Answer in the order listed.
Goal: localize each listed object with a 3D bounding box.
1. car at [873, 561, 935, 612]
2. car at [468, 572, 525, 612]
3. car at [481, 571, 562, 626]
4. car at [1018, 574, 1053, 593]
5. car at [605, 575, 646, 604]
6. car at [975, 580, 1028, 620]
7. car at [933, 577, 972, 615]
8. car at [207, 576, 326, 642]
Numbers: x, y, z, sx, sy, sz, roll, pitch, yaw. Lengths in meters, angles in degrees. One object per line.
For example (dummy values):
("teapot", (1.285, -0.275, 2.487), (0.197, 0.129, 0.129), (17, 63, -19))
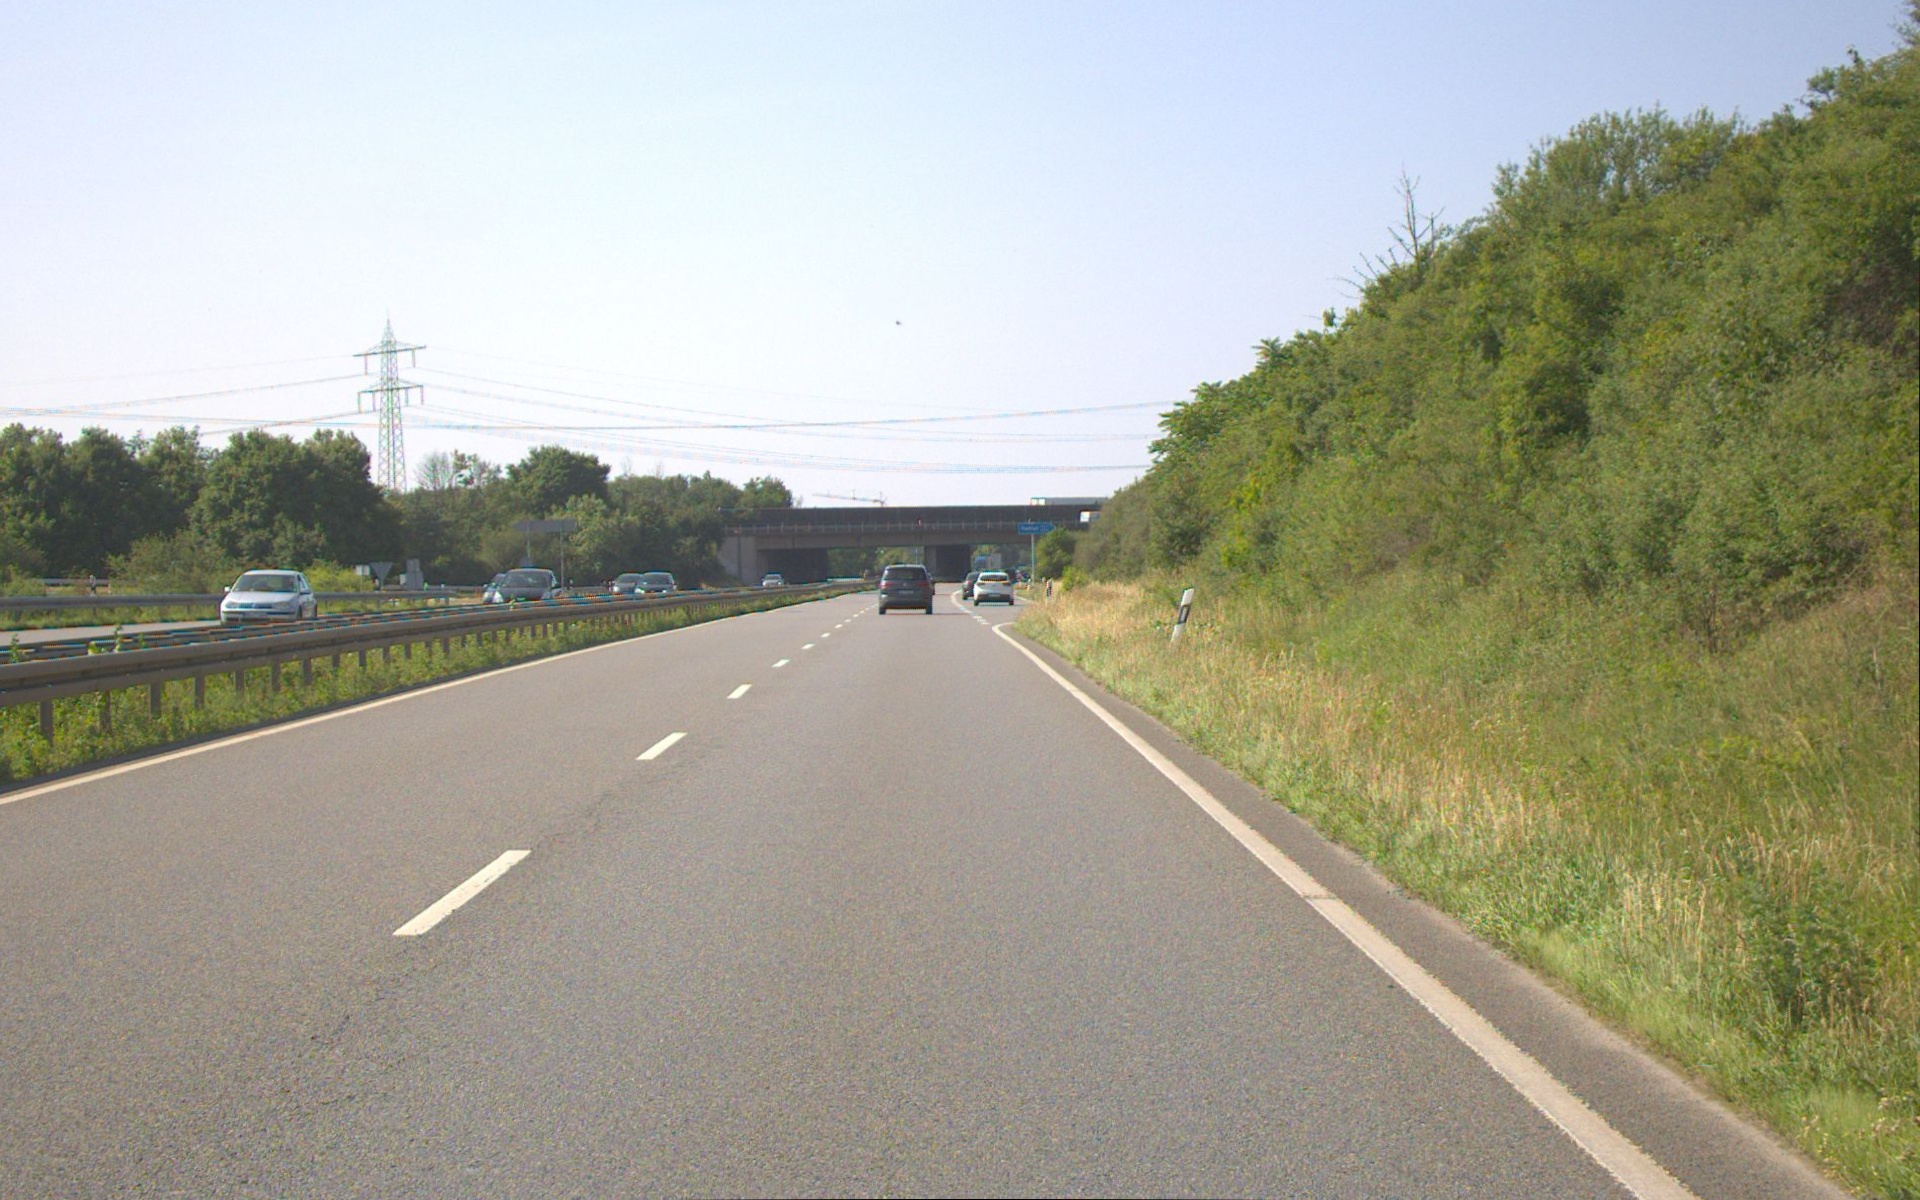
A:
("car", (-1.852, -0.443, 114.094), (1.850, 1.639, 4.000), (0, 0, 2))
("car", (-17.405, -0.310, 129.106), (1.713, 1.445, 4.324), (0, 0, -2))
("car", (-12.369, -0.060, 97.213), (1.712, 1.465, 4.415), (2, 0, -1))
("car", (5.450, -1.164, 248.253), (1.902, 1.293, 3.998), (2, 1, 11))
("car", (-17.932, -0.579, 184.579), (1.814, 1.468, 4.323), (2, 1, -1))
("car", (1.811, -0.004, 149.803), (1.797, 1.660, 3.999), (2, 1, 7))
("car", (-0.431, -0.232, 186.696), (1.993, 2.007, 4.000), (-2, 1, -1))
("car", (-15.732, 0.186, 78.182), (1.821, 1.391, 4.415), (2, 0, -1))
